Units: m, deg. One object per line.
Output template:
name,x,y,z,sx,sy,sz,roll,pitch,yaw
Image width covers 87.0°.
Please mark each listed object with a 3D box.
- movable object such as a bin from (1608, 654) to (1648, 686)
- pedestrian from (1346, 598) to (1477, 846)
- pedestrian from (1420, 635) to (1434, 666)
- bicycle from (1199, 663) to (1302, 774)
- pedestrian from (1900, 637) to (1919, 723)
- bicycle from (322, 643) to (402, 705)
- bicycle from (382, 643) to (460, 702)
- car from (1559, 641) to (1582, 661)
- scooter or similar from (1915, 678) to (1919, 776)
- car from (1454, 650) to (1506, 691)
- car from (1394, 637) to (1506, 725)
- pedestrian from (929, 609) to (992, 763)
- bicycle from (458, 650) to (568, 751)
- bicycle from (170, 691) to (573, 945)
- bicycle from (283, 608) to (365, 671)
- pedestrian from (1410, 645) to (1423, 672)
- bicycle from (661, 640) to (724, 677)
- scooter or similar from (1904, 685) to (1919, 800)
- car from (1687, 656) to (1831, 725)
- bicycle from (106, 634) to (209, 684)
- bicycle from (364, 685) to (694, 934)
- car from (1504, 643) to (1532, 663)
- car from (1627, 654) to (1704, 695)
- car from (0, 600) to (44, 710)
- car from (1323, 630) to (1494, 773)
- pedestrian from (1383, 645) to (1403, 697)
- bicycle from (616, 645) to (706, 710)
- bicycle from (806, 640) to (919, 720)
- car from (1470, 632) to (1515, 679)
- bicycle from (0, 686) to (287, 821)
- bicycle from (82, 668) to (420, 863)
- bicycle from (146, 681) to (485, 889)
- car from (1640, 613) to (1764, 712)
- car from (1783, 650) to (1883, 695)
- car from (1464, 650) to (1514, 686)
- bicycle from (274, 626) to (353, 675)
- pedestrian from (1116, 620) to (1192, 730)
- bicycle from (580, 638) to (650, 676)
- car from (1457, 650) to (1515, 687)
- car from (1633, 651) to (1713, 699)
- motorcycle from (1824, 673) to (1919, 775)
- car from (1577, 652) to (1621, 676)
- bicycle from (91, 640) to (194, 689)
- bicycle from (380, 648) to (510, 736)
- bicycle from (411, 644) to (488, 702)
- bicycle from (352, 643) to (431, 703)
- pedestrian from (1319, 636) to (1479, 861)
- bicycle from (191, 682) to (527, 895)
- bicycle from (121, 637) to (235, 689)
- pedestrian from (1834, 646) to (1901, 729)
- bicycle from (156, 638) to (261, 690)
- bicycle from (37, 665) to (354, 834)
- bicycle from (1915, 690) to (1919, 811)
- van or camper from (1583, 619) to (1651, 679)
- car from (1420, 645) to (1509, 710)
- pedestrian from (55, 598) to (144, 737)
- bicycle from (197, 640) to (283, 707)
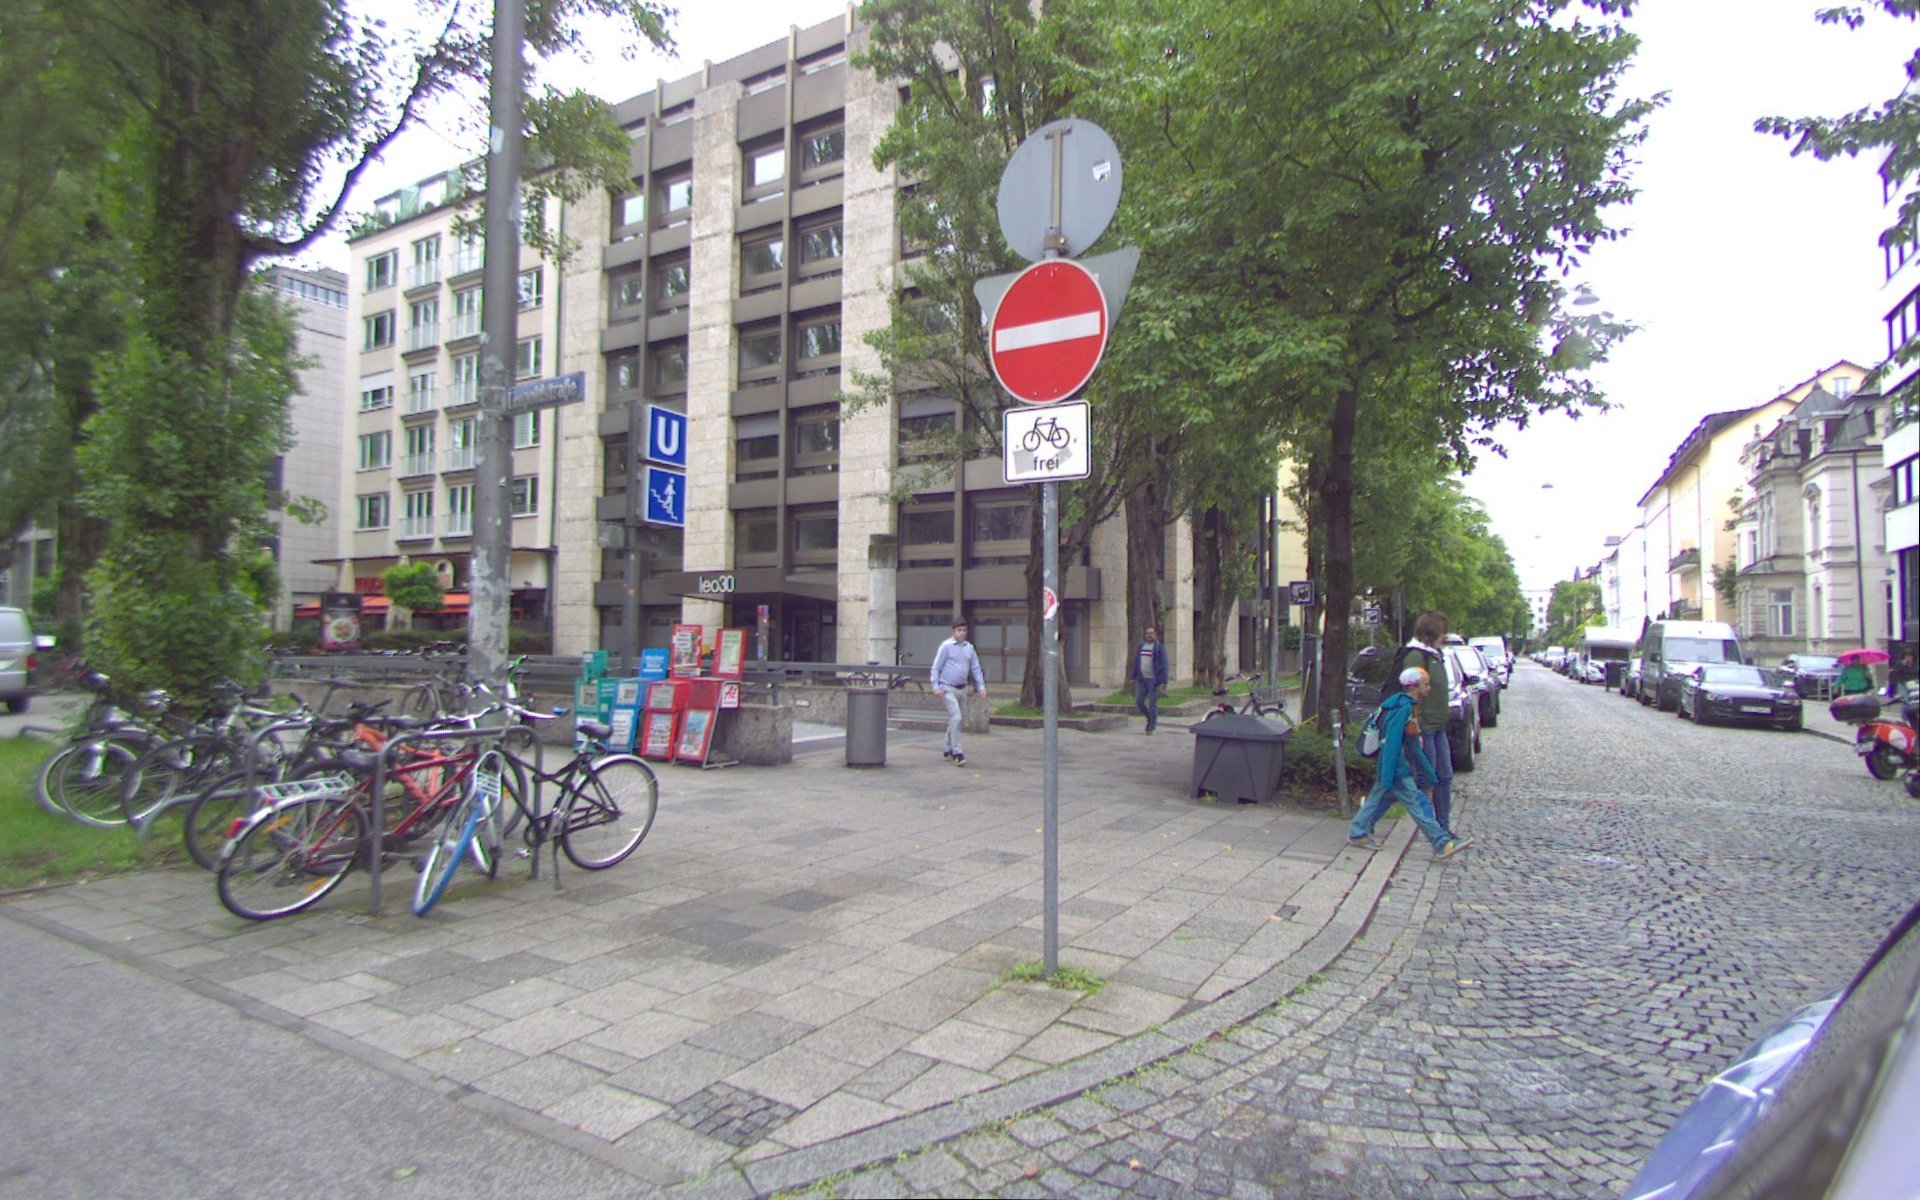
movable object such as a bin,28.598,2.992,43.356,1.243,1.315,1.163,0,-3,26
pedestrian,3.364,0.866,7.553,0.653,1.723,0.689,3,-4,-44
pedestrian,23.601,2.564,51.138,0.639,1.557,0.702,-1,-3,27
bicycle,3.395,1.324,11.722,0.473,1.151,1.849,-2,-3,39
pedestrian,20.014,1.652,20.991,0.571,1.771,0.643,-1,-3,30
bicycle,-11.943,1.449,20.190,1.855,1.175,0.581,-1,-3,32
bicycle,-11.326,1.493,21.240,1.855,1.175,0.581,-1,-3,32
car,77.121,6.383,127.889,2.069,2.464,5.553,-1,-3,28
scooter or similar,11.961,1.529,11.811,0.382,1.195,1.251,1,-3,-2
car,19.847,2.669,38.540,1.591,1.449,3.524,-3,-4,29
car,10.924,1.707,22.411,2.001,1.723,4.625,-2,-3,28
pedestrian,0.019,0.991,11.925,0.700,1.747,0.669,0,-3,3
bicycle,-5.699,1.232,12.853,1.862,1.175,0.578,-2,-4,43
bicycle,-3.055,1.064,5.489,0.472,1.064,1.854,-1,-3,32
bicycle,-12.374,0.771,19.664,1.855,1.175,0.581,-1,-3,32
pedestrian,26.452,3.391,58.617,0.535,1.550,0.529,0,-3,7
bicycle,-8.851,1.918,33.553,0.642,1.170,2.221,-1,-3,30
scooter or similar,10.412,1.452,10.145,1.406,1.159,0.368,0,-3,7
car,17.937,1.970,22.931,1.983,1.347,4.070,-1,-3,31
bicycle,-19.651,1.436,24.834,0.583,1.175,1.847,0,-3,32
bicycle,-2.307,1.061,5.705,0.471,1.064,1.859,-1,-2,25
car,49.224,4.637,89.293,1.980,1.712,3.836,-2,-3,27
car,26.720,2.786,38.436,1.982,1.406,3.957,0,-3,29
car,-19.053,1.008,18.710,5.162,1.921,1.793,-2,-4,32
car,6.561,1.334,14.561,1.909,1.723,4.158,-2,-3,28
pedestrian,13.963,2.271,32.636,0.486,1.650,0.561,-1,-3,33
bicycle,-5.788,1.475,19.563,1.855,1.175,0.581,-1,-3,32
bicycle,-1.662,1.328,17.182,1.855,1.293,0.713,-1,-3,32
car,29.761,3.066,56.581,2.069,2.465,5.553,-2,-3,28
bicycle,-6.309,1.129,7.800,0.469,0.828,1.810,-1,-2,35
bicycle,-4.898,1.077,7.166,0.509,1.119,1.910,-1,-2,30
bicycle,-4.127,1.122,6.661,0.472,1.064,1.855,-1,-2,32
car,21.240,1.724,29.223,2.047,2.523,5.789,0,-2,28
car,32.502,2.657,37.797,1.896,1.553,4.127,-1,-3,28
car,23.775,3.049,45.575,1.850,1.519,3.836,-2,-3,27
bicycle,-16.197,1.262,25.342,1.843,1.175,0.584,0,-3,17
pedestrian,3.178,1.204,16.578,0.895,1.736,0.867,3,-3,-40
bicycle,-10.959,1.796,32.253,0.642,1.170,2.221,-1,-3,30
car,21.789,2.795,41.837,1.982,1.406,3.832,-2,-3,29
car,24.266,2.511,34.576,1.985,1.449,3.953,0,-3,32
motorcycle,12.255,1.597,13.057,1.949,1.211,0.772,3,-2,-18
car,40.813,4.070,64.712,1.980,1.406,3.836,-2,-3,27
bicycle,-20.241,1.592,25.098,0.583,1.175,1.847,-2,-3,32
bicycle,-7.397,1.292,14.532,1.848,1.175,0.583,-1,-3,23
bicycle,-10.997,1.550,21.775,1.855,1.175,0.581,-1,-3,32
bicycle,-11.641,1.473,20.719,1.855,1.175,0.581,-1,-3,32
pedestrian,3.063,0.975,7.074,0.805,1.438,0.769,3,-4,-44
bicycle,-3.771,1.122,6.544,0.472,1.064,1.855,-1,-2,32
bicycle,-18.311,1.458,23.758,0.583,1.175,2.008,-1,-3,32
pedestrian,19.662,1.870,21.948,0.922,1.728,0.790,-1,-3,33
bicycle,-17.520,1.479,23.639,0.583,1.175,1.847,-1,-3,32
bicycle,-5.626,1.041,7.571,0.510,1.052,1.810,-1,-2,35
bicycle,10.084,1.444,9.467,1.729,1.158,0.553,1,-3,0
van or camper,35.776,2.651,55.326,2.443,3.087,7.242,-1,-3,28
car,13.714,2.029,27.429,1.981,1.603,4.297,-1,-3,28
pedestrian,-12.535,0.951,14.749,0.898,1.953,0.708,0,-2,32
bicycle,-13.412,1.338,18.829,1.969,1.175,0.581,-1,-3,32
